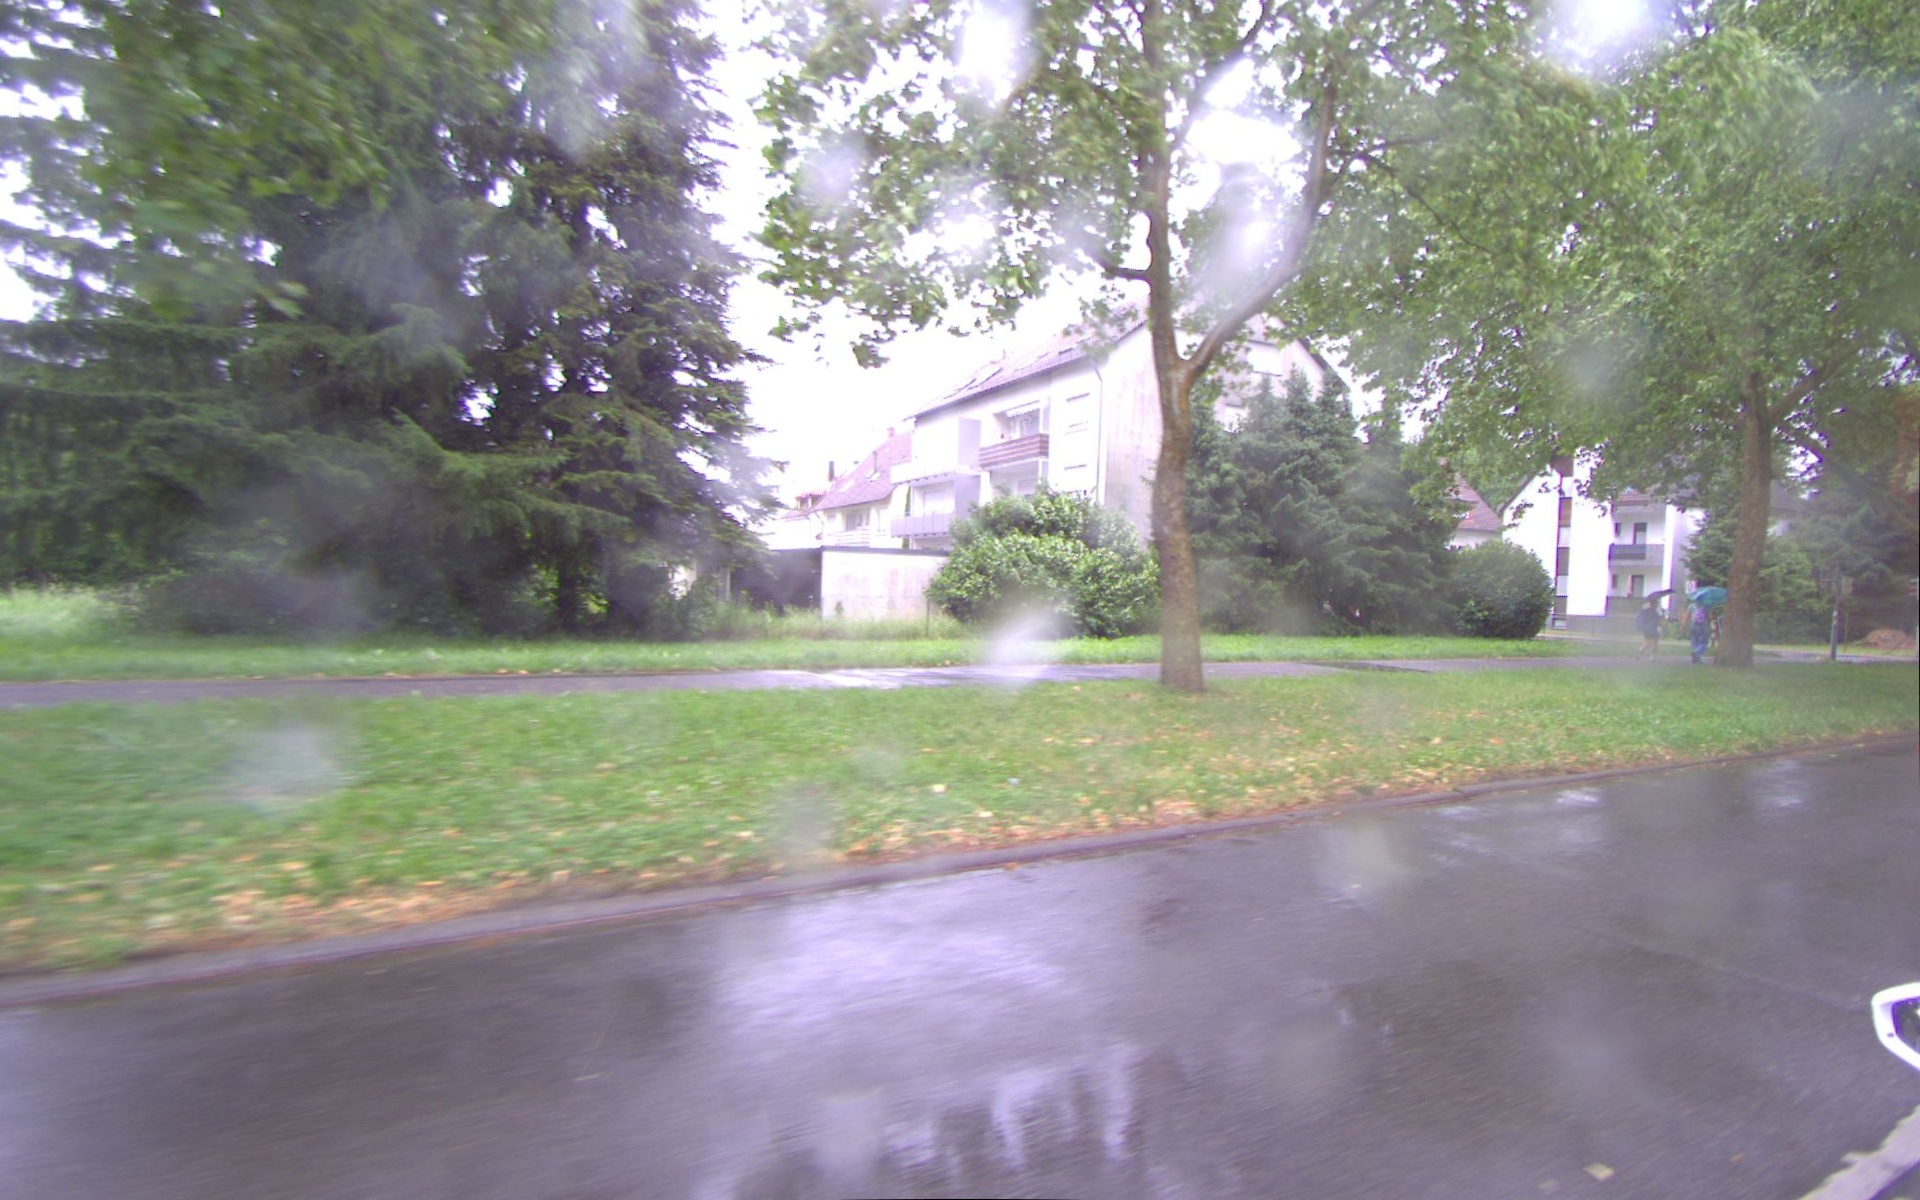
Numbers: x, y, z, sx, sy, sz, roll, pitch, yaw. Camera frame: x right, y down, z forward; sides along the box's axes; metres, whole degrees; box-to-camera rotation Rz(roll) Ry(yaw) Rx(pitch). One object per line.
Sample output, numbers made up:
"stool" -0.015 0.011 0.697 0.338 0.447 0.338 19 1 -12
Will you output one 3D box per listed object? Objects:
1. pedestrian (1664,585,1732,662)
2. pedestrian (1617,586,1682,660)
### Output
"pedestrian" 17.590 0.549 23.958 0.828 1.789 1.028 1 1 -30
"pedestrian" 17.110 0.566 24.953 0.869 1.789 1.028 1 1 -30
